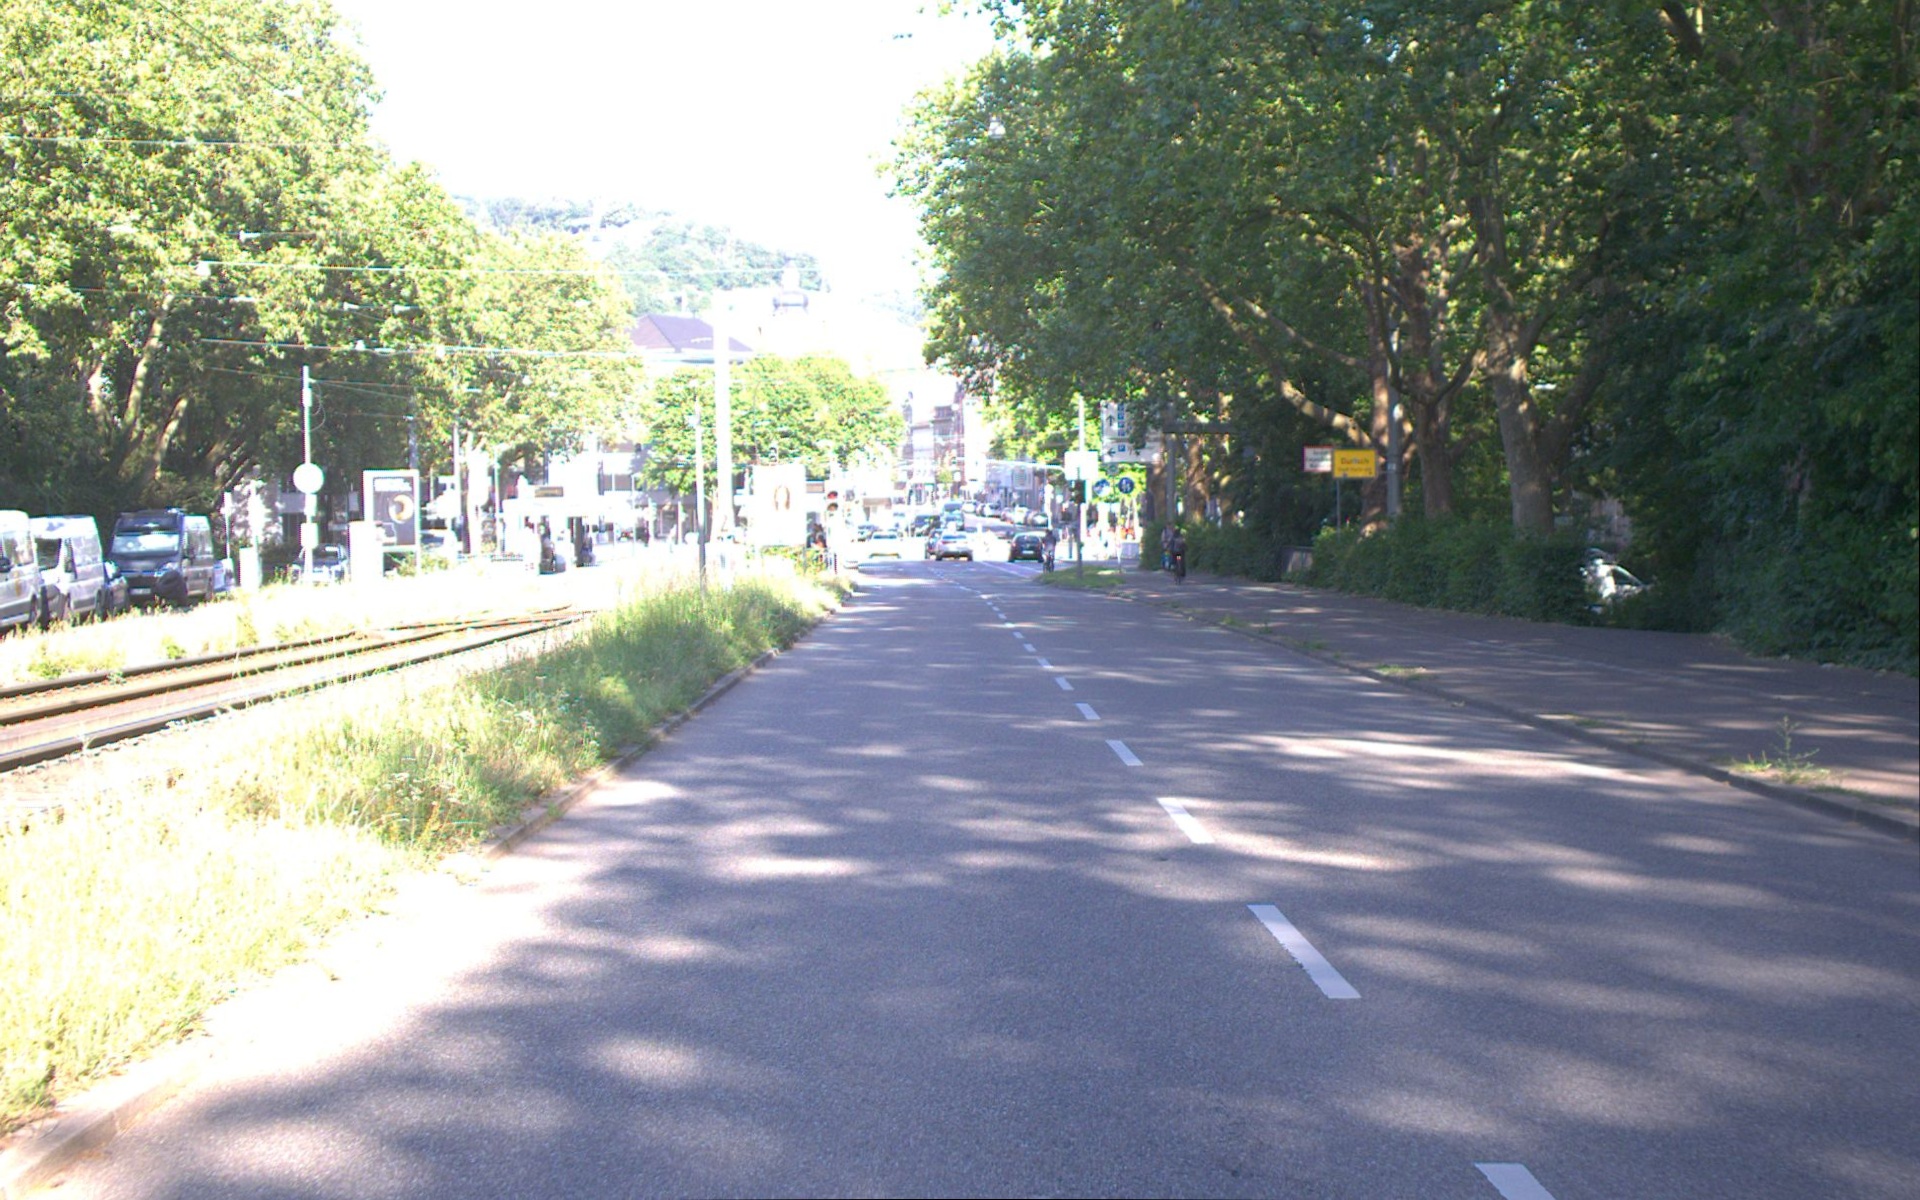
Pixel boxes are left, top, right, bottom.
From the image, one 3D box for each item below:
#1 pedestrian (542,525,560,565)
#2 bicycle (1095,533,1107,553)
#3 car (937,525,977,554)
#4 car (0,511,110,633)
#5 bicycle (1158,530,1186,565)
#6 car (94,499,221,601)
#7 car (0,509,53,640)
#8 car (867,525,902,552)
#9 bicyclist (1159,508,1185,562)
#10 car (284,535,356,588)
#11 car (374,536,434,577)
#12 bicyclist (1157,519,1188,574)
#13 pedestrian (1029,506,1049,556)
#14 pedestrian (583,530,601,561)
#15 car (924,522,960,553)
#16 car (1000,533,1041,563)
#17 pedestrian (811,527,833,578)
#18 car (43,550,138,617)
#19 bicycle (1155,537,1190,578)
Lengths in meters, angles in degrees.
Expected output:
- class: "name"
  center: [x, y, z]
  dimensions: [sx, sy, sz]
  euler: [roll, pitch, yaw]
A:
- class: "pedestrian"
  center: [-15.851, -2.134, 133.219]
  dimensions: [0.593, 1.538, 0.627]
  euler: [0, 0, -1]
- class: "bicycle"
  center: [7.719, -3.097, 188.259]
  dimensions: [0.498, 1.071, 1.800]
  euler: [0, 1, -2]
- class: "car"
  center: [-0.176, -3.129, 177.775]
  dimensions: [1.929, 1.467, 4.855]
  euler: [0, 1, -2]
- class: "car"
  center: [-20.418, -0.612, 75.877]
  dimensions: [2.183, 2.512, 6.273]
  euler: [-3, 1, -5]
- class: "bicycle"
  center: [6.866, -1.712, 111.378]
  dimensions: [0.699, 1.104, 1.930]
  euler: [-1, 1, -3]
- class: "car"
  center: [-21.154, -1.326, 90.886]
  dimensions: [2.183, 2.512, 6.033]
  euler: [-3, 1, -3]
- class: "car"
  center: [-19.704, -0.471, 67.989]
  dimensions: [2.183, 2.512, 6.051]
  euler: [-3, 1, -4]
- class: "car"
  center: [-4.103, -3.326, 186.808]
  dimensions: [1.808, 1.447, 4.001]
  euler: [0, 1, -2]
- class: "bicyclist"
  center: [6.863, -2.098, 111.373]
  dimensions: [0.699, 1.722, 1.080]
  euler: [-1, 1, -3]
- class: "car"
  center: [-21.189, -1.274, 113.939]
  dimensions: [1.902, 1.646, 3.974]
  euler: [-3, 1, -5]
- class: "car"
  center: [-21.758, -1.690, 134.668]
  dimensions: [1.794, 1.505, 4.342]
  euler: [-3, 1, -3]
- class: "bicyclist"
  center: [5.842, -1.467, 94.667]
  dimensions: [0.766, 1.507, 0.650]
  euler: [-1, 1, -2]
- class: "pedestrian"
  center: [2.943, -2.579, 128.173]
  dimensions: [0.657, 1.864, 0.678]
  euler: [-1, 1, -2]
- class: "pedestrian"
  center: [-16.021, -2.389, 149.745]
  dimensions: [0.669, 1.320, 0.757]
  euler: [-3, 1, -3]
- class: "car"
  center: [-0.990, -3.386, 185.024]
  dimensions: [1.800, 1.632, 4.046]
  euler: [0, 1, -2]
- class: "car"
  center: [3.037, -2.622, 172.838]
  dimensions: [1.800, 1.434, 4.046]
  euler: [1, 1, -2]
- class: "pedestrian"
  center: [-4.176, -1.436, 104.093]
  dimensions: [0.589, 1.514, 0.514]
  euler: [-3, 1, -1]
- class: "car"
  center: [-20.844, -0.397, 82.508]
  dimensions: [1.651, 1.507, 3.266]
  euler: [-3, 1, -5]
- class: "bicycle"
  center: [5.848, -1.179, 94.669]
  dimensions: [0.766, 1.104, 1.800]
  euler: [-1, 1, -2]
